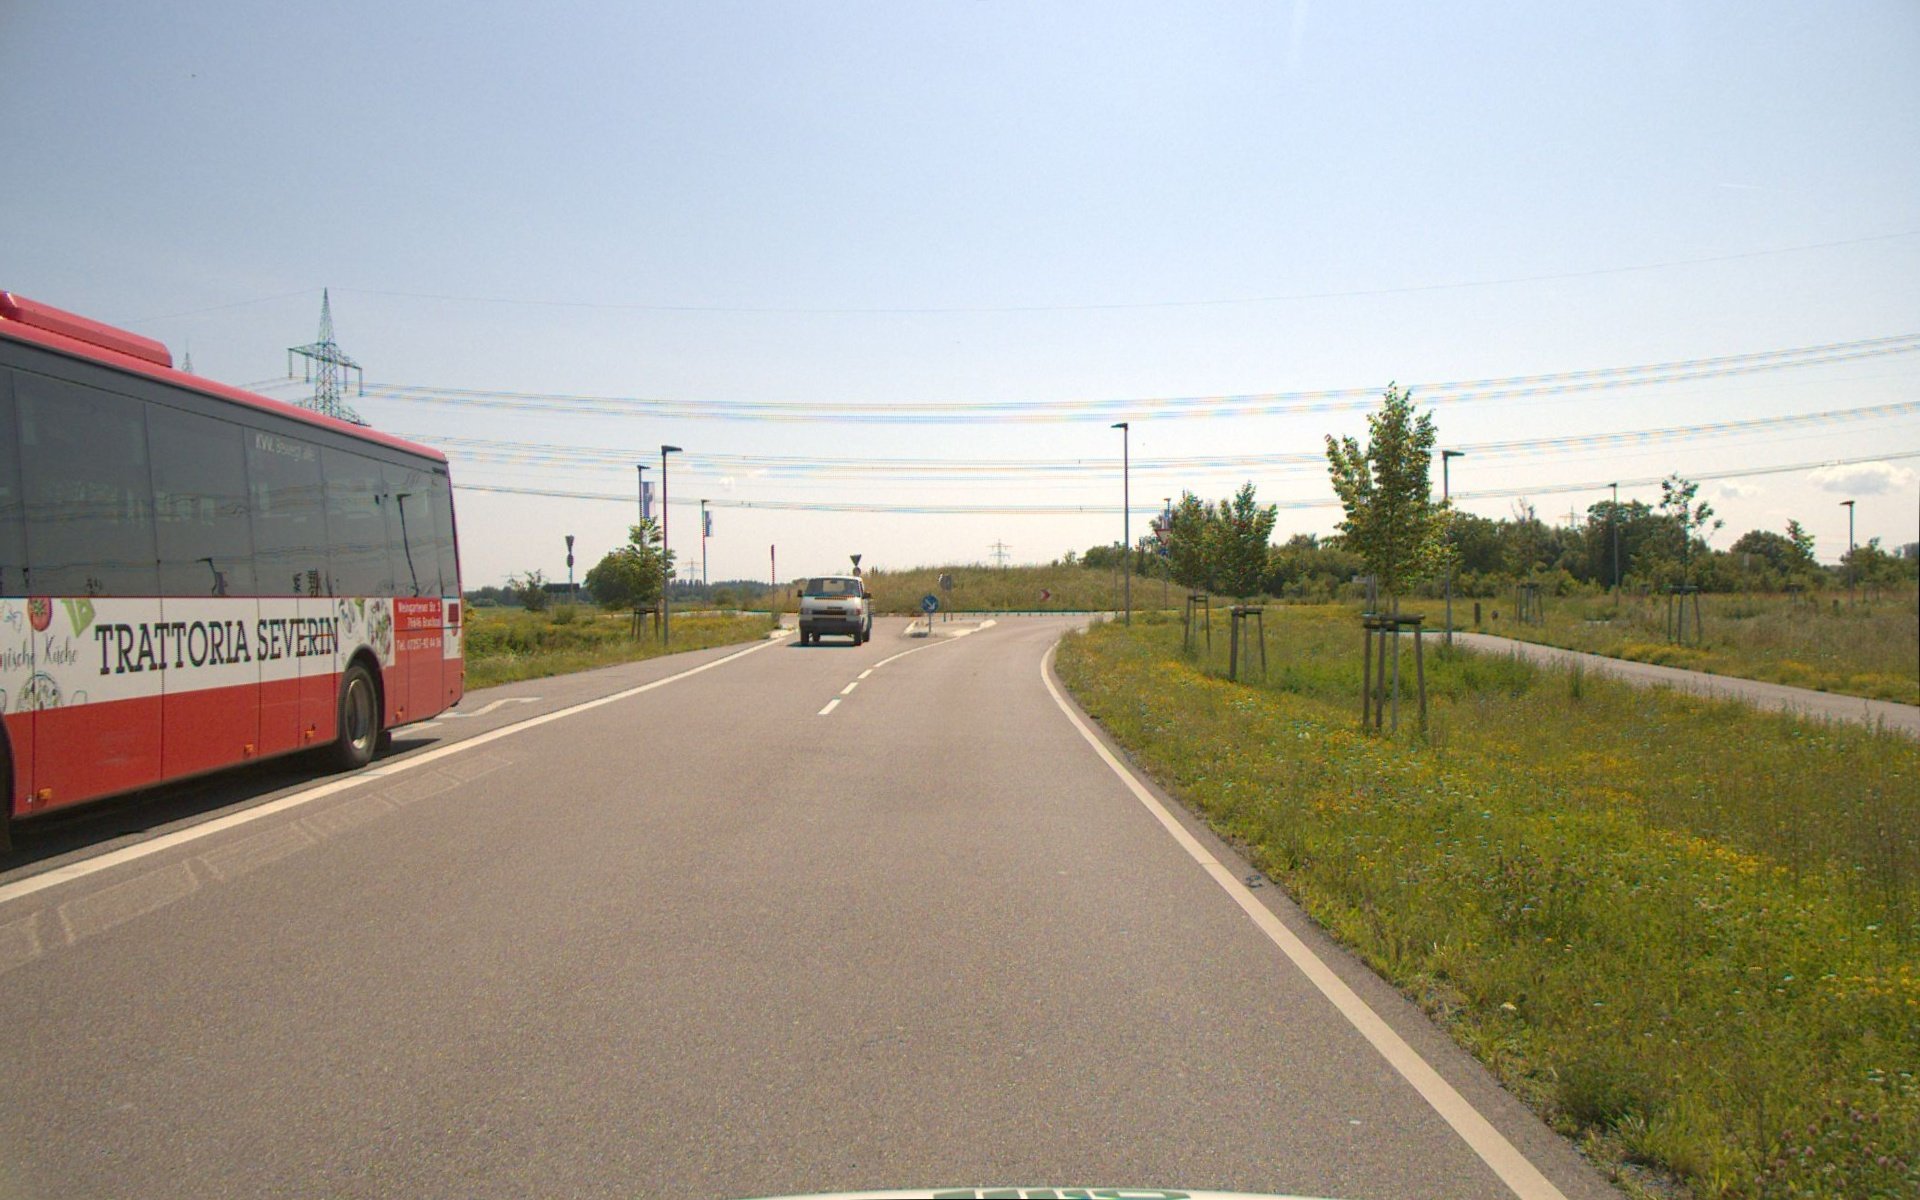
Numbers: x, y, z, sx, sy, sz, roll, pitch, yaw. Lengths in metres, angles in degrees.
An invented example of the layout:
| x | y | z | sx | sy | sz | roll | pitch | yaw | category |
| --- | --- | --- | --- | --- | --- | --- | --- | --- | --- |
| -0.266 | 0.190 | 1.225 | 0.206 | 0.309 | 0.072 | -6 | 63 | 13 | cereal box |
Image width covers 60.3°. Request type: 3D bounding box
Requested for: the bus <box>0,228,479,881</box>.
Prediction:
| x | y | z | sx | sy | sz | roll | pitch | yaw | category |
| --- | --- | --- | --- | --- | --- | --- | --- | --- | --- |
| -6.368 | -0.222 | 11.494 | 2.738 | 3.344 | 12.225 | -2 | 0 | -2 | bus |

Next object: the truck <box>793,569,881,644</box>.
| x | y | z | sx | sy | sz | roll | pitch | yaw | category |
| --- | --- | --- | --- | --- | --- | --- | --- | --- | --- |
| -3.546 | 0.166 | 48.725 | 1.911 | 2.019 | 5.646 | -2 | 0 | 2 | truck |
